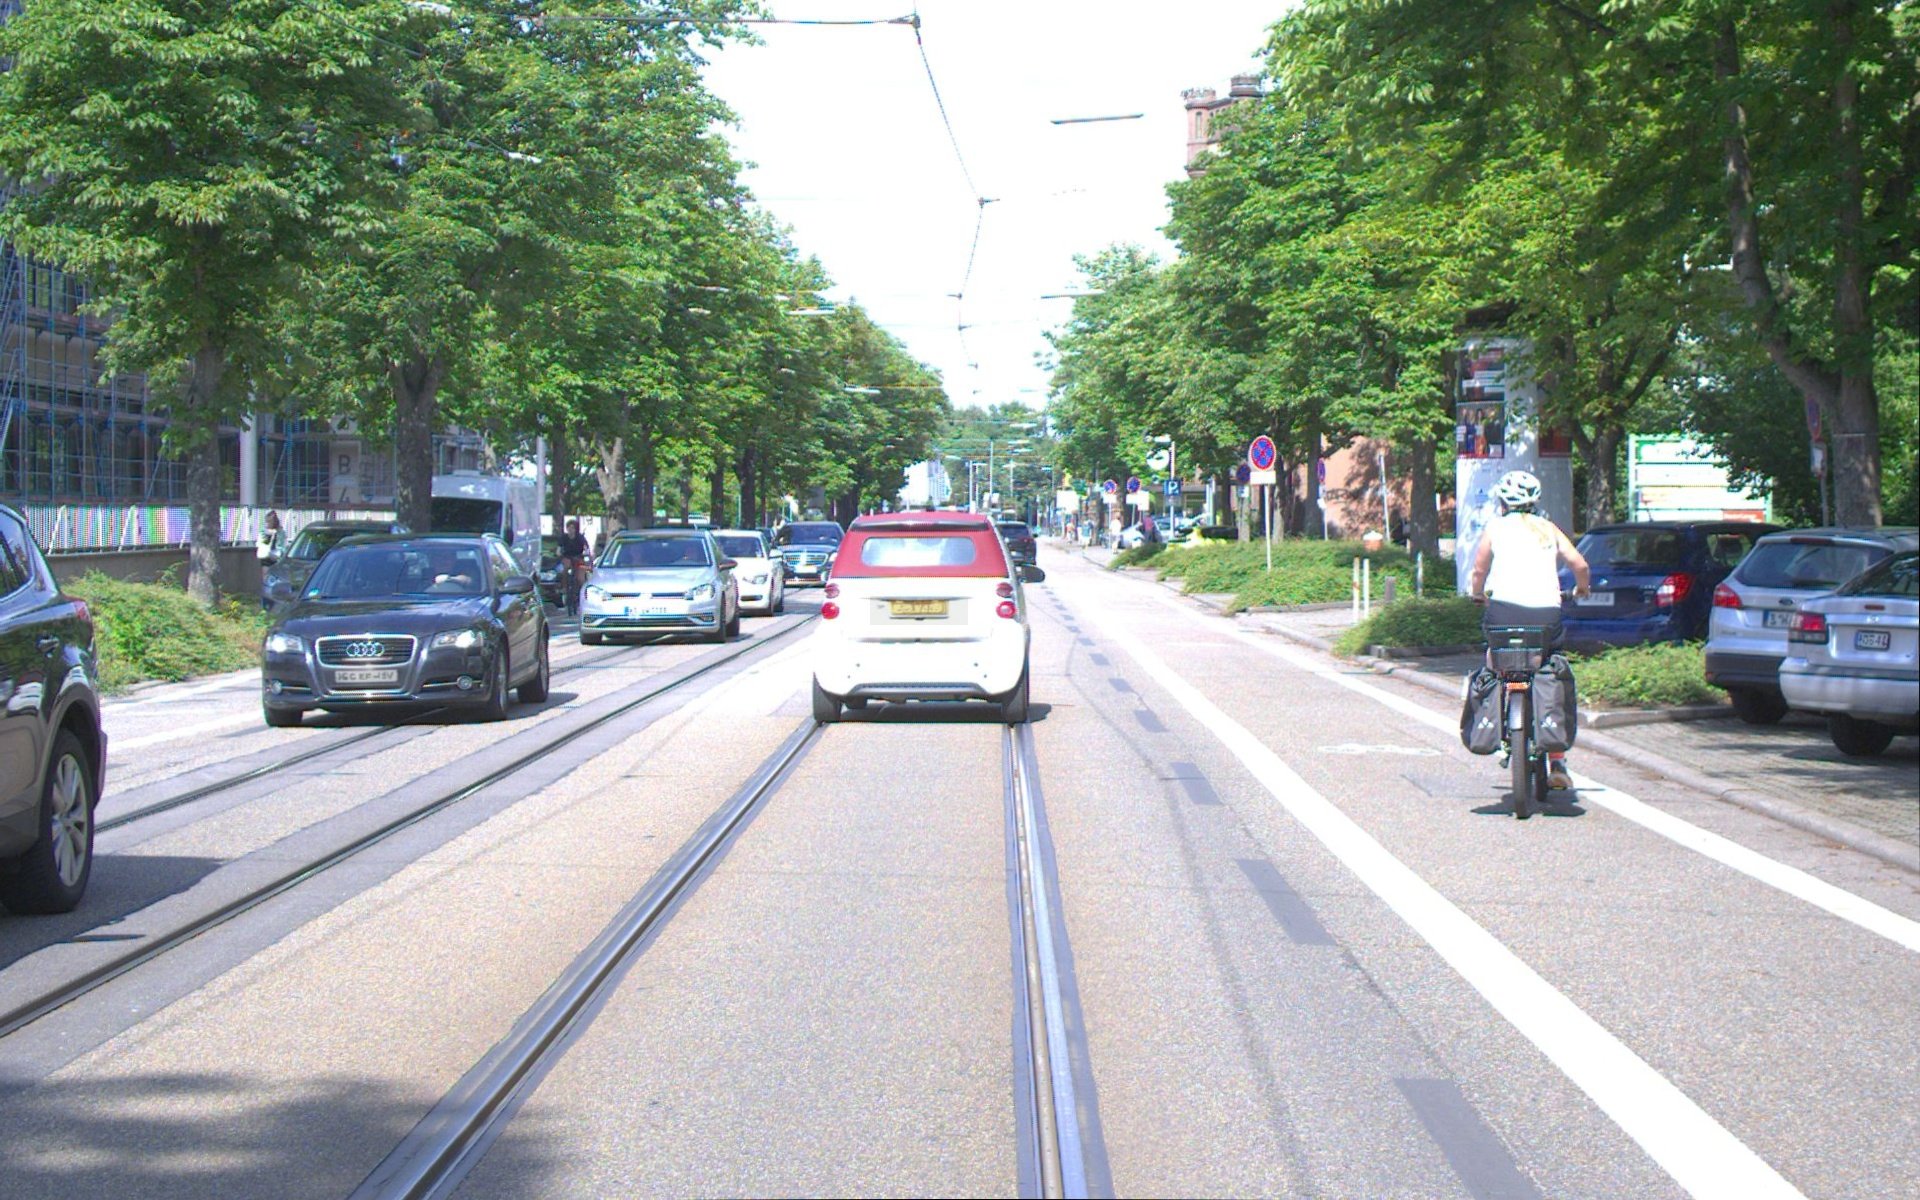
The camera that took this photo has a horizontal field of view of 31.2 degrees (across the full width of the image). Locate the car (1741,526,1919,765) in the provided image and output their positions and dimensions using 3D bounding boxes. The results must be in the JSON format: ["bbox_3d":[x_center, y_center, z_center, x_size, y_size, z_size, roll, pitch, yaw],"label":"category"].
[{"bbox_3d":[7.188,0.244,22.467,4.230,1.415,1.723,-1,3,-37],"label":"car"}]

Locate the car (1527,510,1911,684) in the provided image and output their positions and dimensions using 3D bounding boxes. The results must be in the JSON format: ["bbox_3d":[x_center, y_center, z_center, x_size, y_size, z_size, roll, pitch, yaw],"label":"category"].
[{"bbox_3d":[7.175,-0.068,32.290,1.615,1.481,3.990,0,2,45],"label":"car"}]

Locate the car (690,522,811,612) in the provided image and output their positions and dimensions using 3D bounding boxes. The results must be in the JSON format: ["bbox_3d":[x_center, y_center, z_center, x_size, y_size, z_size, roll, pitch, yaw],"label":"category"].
[{"bbox_3d":[-3.409,-0.562,56.505,1.686,1.400,4.227,-1,1,0],"label":"car"}]

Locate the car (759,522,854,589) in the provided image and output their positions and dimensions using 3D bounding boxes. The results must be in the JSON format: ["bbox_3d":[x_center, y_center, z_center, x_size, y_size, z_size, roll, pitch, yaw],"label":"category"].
[{"bbox_3d":[-3.551,-1.047,80.153,1.800,1.503,4.536,1,1,2],"label":"car"}]

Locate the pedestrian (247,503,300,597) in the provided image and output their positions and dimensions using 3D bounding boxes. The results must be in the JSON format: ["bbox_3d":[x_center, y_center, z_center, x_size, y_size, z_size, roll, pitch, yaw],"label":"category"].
[{"bbox_3d":[-11.995,-0.875,60.082,0.764,1.614,0.594,1,1,1],"label":"pedestrian"}]

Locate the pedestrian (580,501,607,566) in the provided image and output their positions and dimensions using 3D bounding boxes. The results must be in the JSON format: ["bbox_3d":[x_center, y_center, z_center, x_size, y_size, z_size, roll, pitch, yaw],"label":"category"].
[{"bbox_3d":[-11.420,-2.076,107.181,0.802,2.007,0.485,0,1,-8],"label":"pedestrian"}]

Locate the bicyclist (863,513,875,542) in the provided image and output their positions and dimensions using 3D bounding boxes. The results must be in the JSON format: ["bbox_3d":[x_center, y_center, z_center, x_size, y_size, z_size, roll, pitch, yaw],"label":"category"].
[{"bbox_3d":[-5.018,-3.995,189.488,0.658,1.574,0.946,-1,2,-1],"label":"bicyclist"}]

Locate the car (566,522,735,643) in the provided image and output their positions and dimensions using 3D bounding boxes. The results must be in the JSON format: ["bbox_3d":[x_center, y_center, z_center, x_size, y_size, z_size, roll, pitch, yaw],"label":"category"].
[{"bbox_3d":[-3.897,-0.252,43.803,1.773,1.411,3.852,-2,1,0],"label":"car"}]

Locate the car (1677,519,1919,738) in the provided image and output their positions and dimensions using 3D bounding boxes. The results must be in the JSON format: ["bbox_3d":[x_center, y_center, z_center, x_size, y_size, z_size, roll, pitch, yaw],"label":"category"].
[{"bbox_3d":[7.205,0.173,25.578,3.794,1.469,1.652,0,3,-41],"label":"car"}]

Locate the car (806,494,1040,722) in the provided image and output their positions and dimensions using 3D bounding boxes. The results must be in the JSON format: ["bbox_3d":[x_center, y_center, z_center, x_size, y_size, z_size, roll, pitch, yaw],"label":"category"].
[{"bbox_3d":[-0.275,0.035,26.335,1.665,1.619,3.621,0,1,0],"label":"car"}]

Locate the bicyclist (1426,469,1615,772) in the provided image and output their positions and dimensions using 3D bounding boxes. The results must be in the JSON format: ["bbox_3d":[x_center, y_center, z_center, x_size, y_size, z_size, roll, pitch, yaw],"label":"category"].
[{"bbox_3d":[2.933,0.092,18.083,0.890,1.523,1.085,2,1,7],"label":"bicyclist"}]

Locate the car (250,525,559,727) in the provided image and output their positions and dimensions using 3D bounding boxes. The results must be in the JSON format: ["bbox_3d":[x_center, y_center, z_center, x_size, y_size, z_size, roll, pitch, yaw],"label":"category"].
[{"bbox_3d":[-4.196,0.146,26.542,1.723,1.371,4.000,-2,1,-1],"label":"car"}]

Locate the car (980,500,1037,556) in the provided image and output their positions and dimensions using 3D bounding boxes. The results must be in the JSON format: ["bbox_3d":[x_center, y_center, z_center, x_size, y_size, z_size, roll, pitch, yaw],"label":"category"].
[{"bbox_3d":[1.445,-2.192,104.089,1.665,1.619,3.621,1,2,0],"label":"car"}]

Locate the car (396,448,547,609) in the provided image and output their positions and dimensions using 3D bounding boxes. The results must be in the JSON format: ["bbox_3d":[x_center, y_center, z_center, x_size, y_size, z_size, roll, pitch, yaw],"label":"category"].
[{"bbox_3d":[-8.413,-1.234,59.618,1.769,2.630,5.322,1,1,0],"label":"car"}]

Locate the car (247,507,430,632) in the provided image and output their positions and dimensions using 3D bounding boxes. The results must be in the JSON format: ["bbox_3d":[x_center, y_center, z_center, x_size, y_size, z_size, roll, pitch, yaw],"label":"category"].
[{"bbox_3d":[-8.797,-0.460,48.961,1.804,1.656,4.103,1,1,1],"label":"car"}]

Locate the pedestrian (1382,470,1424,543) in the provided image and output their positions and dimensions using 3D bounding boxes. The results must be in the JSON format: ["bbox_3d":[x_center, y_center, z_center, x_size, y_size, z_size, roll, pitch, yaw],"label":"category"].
[{"bbox_3d":[12.345,-2.610,95.882,0.977,2.007,1.093,1,1,0],"label":"pedestrian"}]

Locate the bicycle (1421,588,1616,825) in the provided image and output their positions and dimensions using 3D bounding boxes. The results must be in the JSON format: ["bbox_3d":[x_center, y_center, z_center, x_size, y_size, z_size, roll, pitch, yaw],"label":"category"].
[{"bbox_3d":[2.897,0.519,18.015,0.875,1.122,2.135,2,1,6],"label":"bicycle"}]

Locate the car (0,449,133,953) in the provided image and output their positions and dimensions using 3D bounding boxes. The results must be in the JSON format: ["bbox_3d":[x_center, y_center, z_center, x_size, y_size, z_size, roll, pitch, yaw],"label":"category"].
[{"bbox_3d":[-4.195,0.357,11.493,1.825,1.721,4.392,0,1,-1],"label":"car"}]

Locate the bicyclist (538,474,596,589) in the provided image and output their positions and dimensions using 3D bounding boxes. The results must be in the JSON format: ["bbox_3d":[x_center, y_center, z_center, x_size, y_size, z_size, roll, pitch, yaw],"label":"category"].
[{"bbox_3d":[-6.969,-1.209,61.035,0.876,2.007,0.834,-2,0,-1],"label":"bicyclist"}]

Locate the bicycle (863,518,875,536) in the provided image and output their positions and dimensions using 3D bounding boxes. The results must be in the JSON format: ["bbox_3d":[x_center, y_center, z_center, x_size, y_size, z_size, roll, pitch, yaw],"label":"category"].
[{"bbox_3d":[-5.012,-4.043,189.576,0.618,0.970,1.717,0,1,-3],"label":"bicycle"}]
